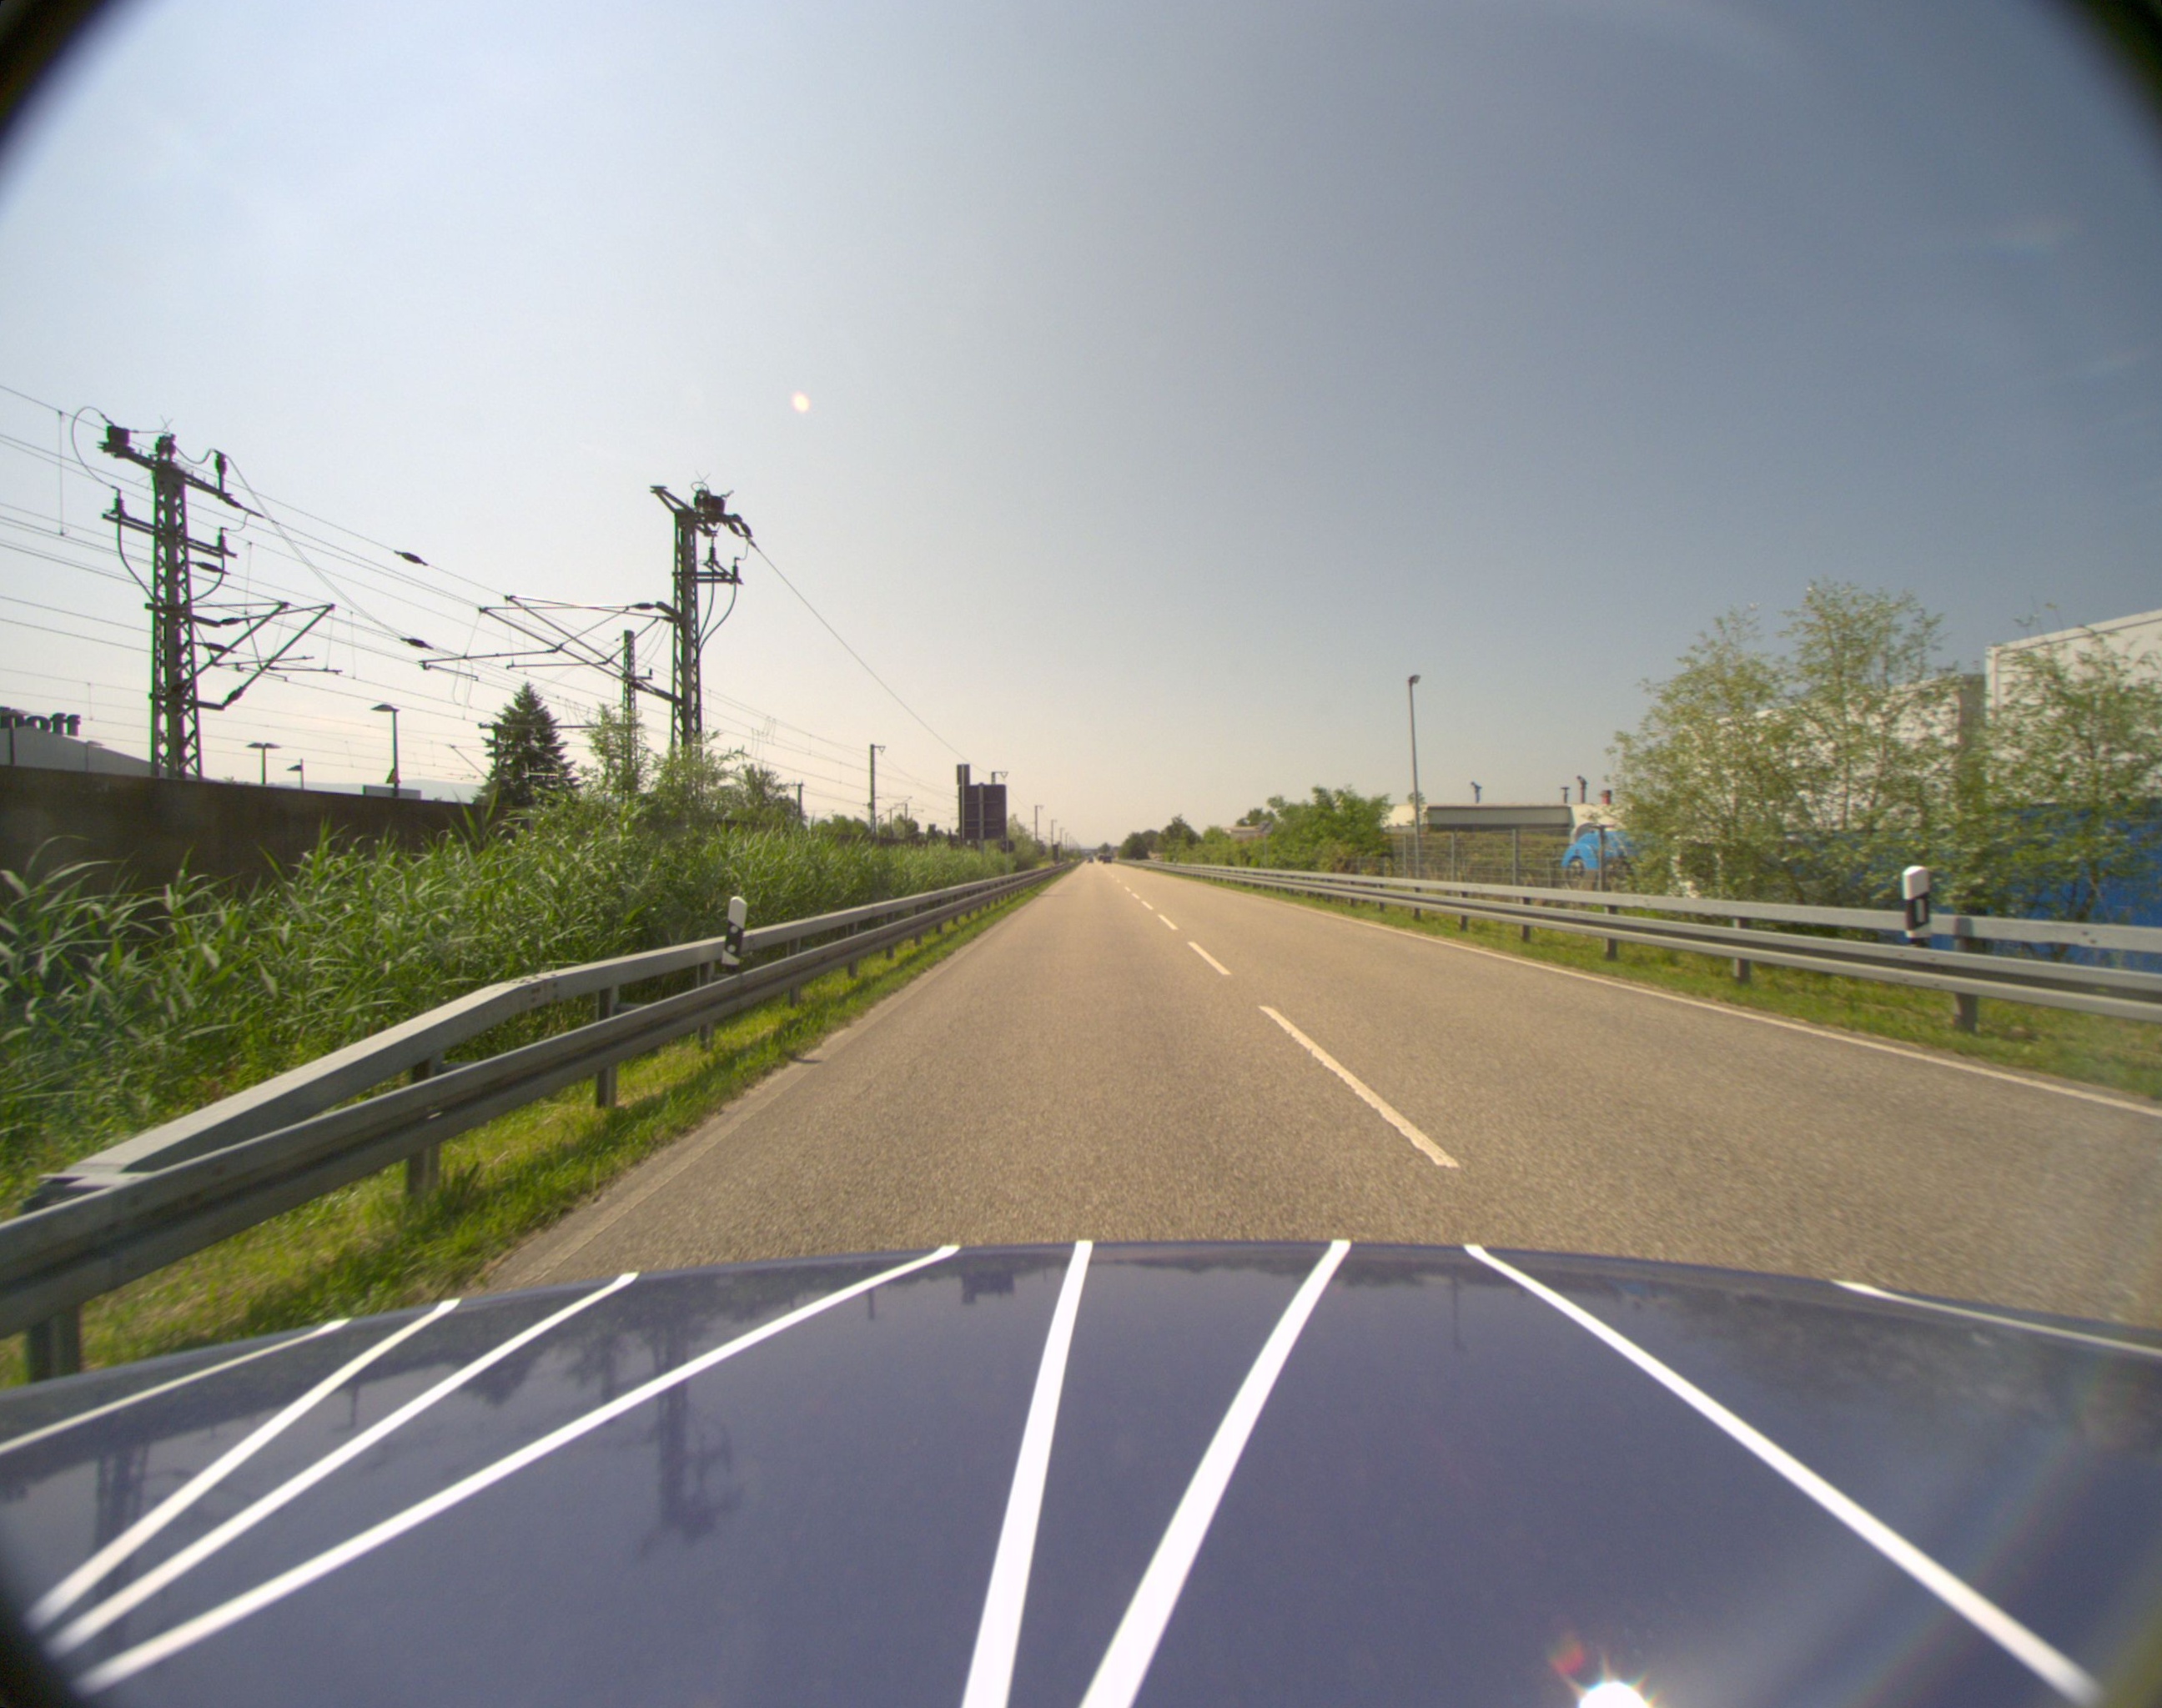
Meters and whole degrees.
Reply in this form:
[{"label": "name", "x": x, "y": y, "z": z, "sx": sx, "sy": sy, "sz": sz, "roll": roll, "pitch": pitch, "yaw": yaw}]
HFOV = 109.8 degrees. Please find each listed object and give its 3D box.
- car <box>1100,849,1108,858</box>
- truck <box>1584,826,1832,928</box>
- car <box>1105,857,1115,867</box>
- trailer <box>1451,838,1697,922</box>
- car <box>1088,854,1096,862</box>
[{"label": "car", "x": 7.577, "y": -0.138, "z": 250.807, "sx": 2.084, "sy": 2.945, "sz": 6.729, "roll": -2, "pitch": 0, "yaw": 1}, {"label": "truck", "x": 14.077, "y": 0.472, "z": 17.437, "sx": 2.208, "sy": 1.992, "sz": 3.998, "roll": -2, "pitch": 0, "yaw": -4}, {"label": "car", "x": 6.474, "y": 1.767, "z": 171.008, "sx": 1.898, "sy": 2.002, "sz": 5.369, "roll": -2, "pitch": 0, "yaw": 0}, {"label": "trailer", "x": 13.782, "y": 0.640, "z": 22.093, "sx": 2.208, "sy": 1.992, "sz": 6.971, "roll": -2, "pitch": 0, "yaw": -4}, {"label": "car", "x": 2.950, "y": 1.145, "z": 201.529, "sx": 1.999, "sy": 2.002, "sz": 4.000, "roll": -2, "pitch": 0, "yaw": -1}]
